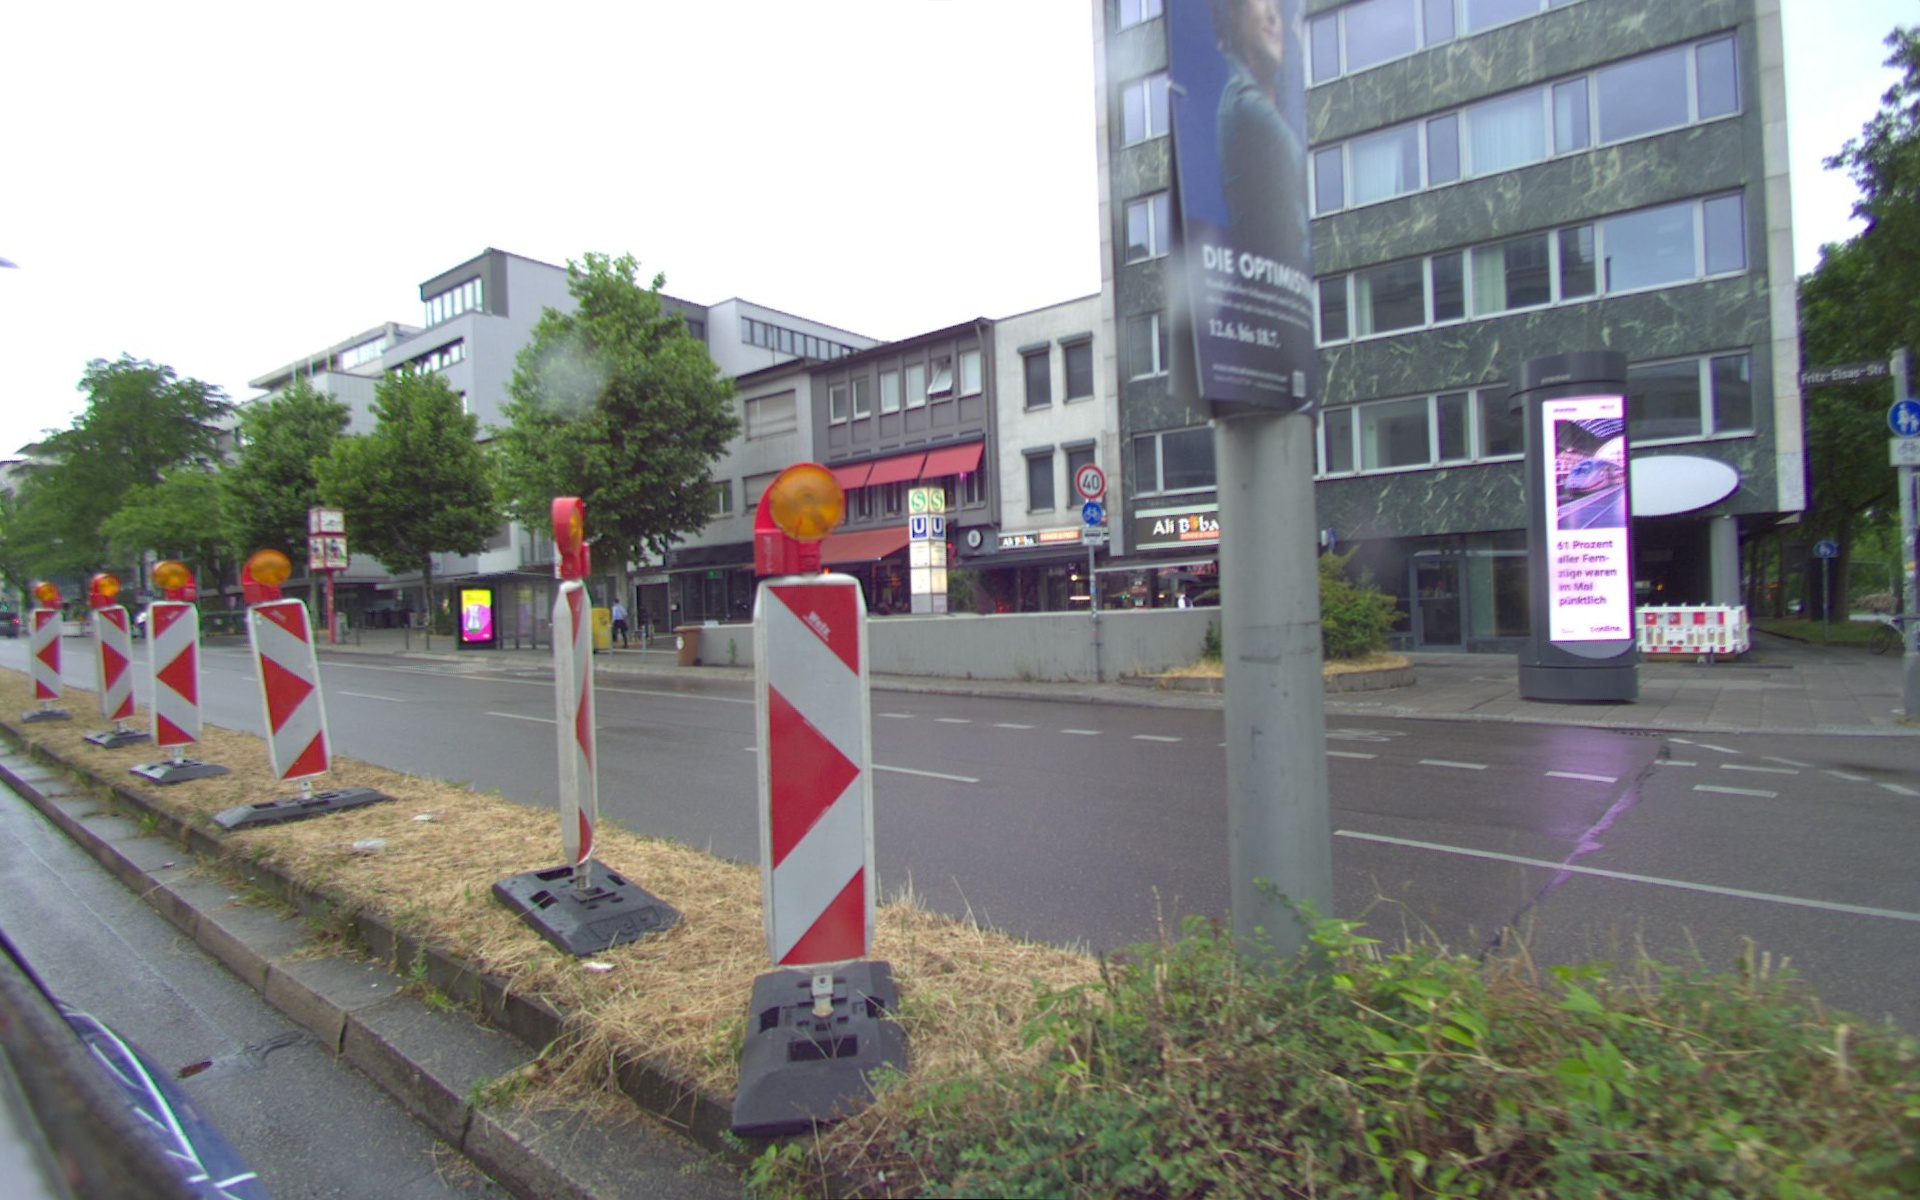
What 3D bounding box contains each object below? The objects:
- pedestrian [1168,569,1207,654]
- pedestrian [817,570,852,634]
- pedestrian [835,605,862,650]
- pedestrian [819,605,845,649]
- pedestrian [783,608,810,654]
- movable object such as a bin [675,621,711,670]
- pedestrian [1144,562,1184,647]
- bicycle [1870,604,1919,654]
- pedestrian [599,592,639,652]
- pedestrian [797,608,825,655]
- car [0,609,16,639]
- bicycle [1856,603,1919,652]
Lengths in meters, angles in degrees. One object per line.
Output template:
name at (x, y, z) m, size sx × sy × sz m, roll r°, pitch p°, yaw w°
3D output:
pedestrian at (5.562, 0.277, 24.759) m, size 0.588 × 2.029 × 0.730 m, roll 0°, pitch -1°, yaw -29°
pedestrian at (-3.651, 0.050, 29.507) m, size 0.790 × 1.837 × 0.604 m, roll -1°, pitch 0°, yaw 34°
pedestrian at (-3.865, 0.947, 35.116) m, size 0.611 × 1.540 × 0.660 m, roll -1°, pitch -1°, yaw 44°
pedestrian at (-4.510, 0.954, 35.672) m, size 0.611 × 1.540 × 0.660 m, roll -1°, pitch -1°, yaw 44°
pedestrian at (-5.550, 1.060, 34.409) m, size 0.611 × 1.540 × 0.660 m, roll -1°, pitch -1°, yaw 44°
movable object such as a bin at (-6.215, 1.058, 23.551) m, size 0.660 × 1.109 × 0.501 m, roll -1°, pitch 0°, yaw 39°
pedestrian at (4.915, 0.111, 24.411) m, size 0.588 × 2.029 × 0.730 m, roll 0°, pitch -1°, yaw -29°
bicycle at (20.655, 0.616, 21.572) m, size 1.780 × 1.060 × 0.579 m, roll -1°, pitch -1°, yaw 37°
pedestrian at (-11.609, 0.736, 34.446) m, size 0.943 × 2.029 × 0.910 m, roll -1°, pitch 0°, yaw 41°
pedestrian at (-4.974, 1.049, 33.743) m, size 0.611 × 1.540 × 0.660 m, roll -1°, pitch -1°, yaw 44°
car at (-65.791, 1.606, 68.735) m, size 4.964 × 1.942 × 1.972 m, roll 1°, pitch -1°, yaw 42°
bicycle at (21.151, 0.610, 22.480) m, size 1.780 × 1.060 × 0.579 m, roll -1°, pitch -1°, yaw 37°
